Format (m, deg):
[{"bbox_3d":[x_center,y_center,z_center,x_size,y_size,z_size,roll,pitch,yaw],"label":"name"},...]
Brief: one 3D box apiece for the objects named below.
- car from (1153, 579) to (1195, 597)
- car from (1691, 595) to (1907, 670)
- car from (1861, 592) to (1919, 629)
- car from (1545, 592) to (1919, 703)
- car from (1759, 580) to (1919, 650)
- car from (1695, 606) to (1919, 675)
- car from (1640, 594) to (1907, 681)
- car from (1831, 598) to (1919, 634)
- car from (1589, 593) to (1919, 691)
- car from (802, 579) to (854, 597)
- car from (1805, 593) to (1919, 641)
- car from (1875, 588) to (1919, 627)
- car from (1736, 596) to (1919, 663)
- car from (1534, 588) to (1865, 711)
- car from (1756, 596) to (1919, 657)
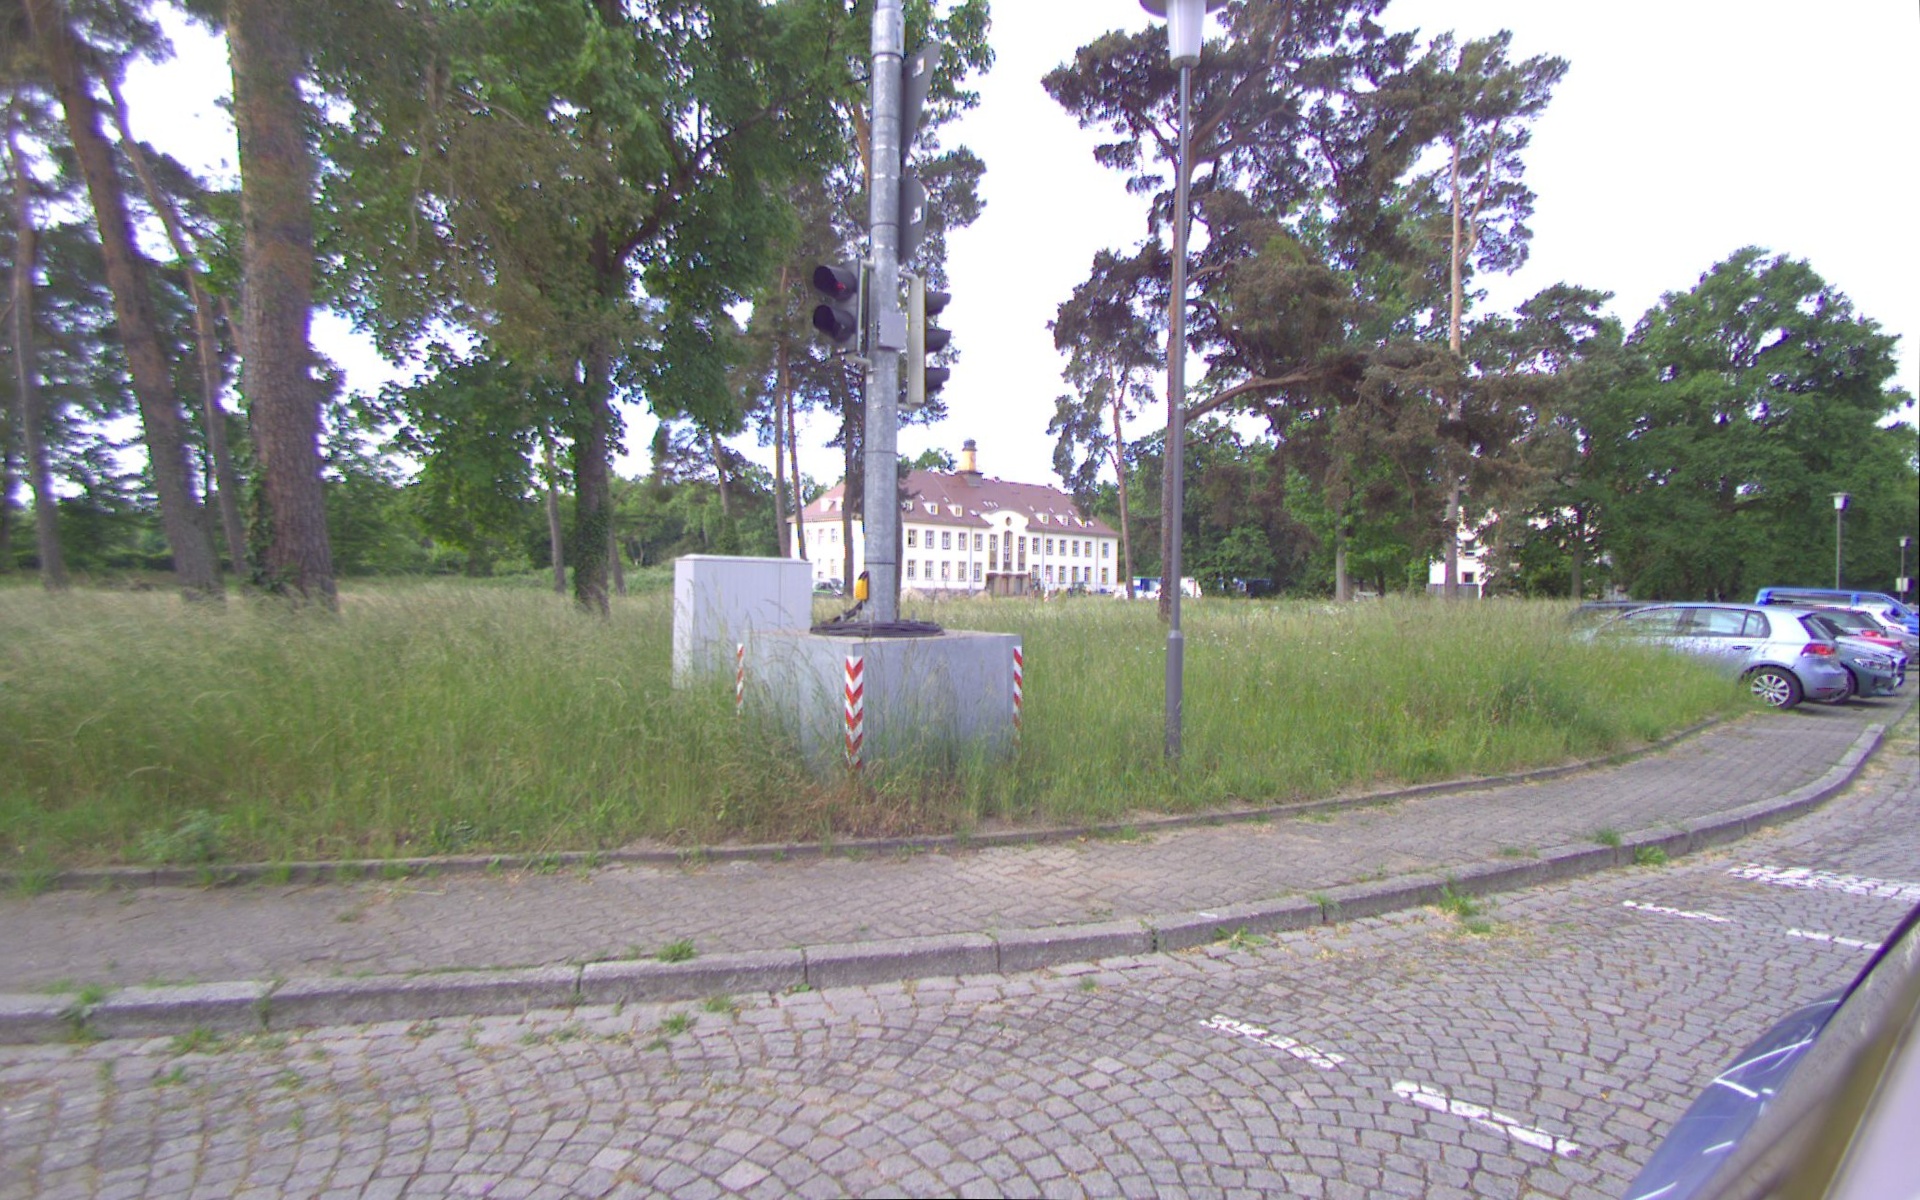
[{"bbox_3d":[24.696,-1.358,116.657,5.132,2.039,2.152,0,1,-41],"label":"car"},{"bbox_3d":[19.702,0.700,23.852,1.770,1.524,3.779,0,1,-45],"label":"car"},{"bbox_3d":[48.626,0.533,51.455,1.966,1.784,4.004,0,1,-42],"label":"car"},{"bbox_3d":[12.623,0.666,16.807,4.758,1.501,1.734,2,1,44],"label":"car"},{"bbox_3d":[27.817,0.429,31.208,1.967,1.963,4.743,0,2,-43],"label":"car"},{"bbox_3d":[18.058,0.805,21.607,1.469,1.222,3.596,1,1,-42],"label":"car"},{"bbox_3d":[16.264,0.670,20.367,1.769,1.470,3.967,0,1,-43],"label":"car"},{"bbox_3d":[41.195,0.672,44.646,1.966,1.549,3.991,0,0,-43],"label":"car"},{"bbox_3d":[14.667,0.673,18.817,1.782,1.501,4.763,0,1,-43],"label":"car"},{"bbox_3d":[-15.141,-1.410,115.863,6.164,1.882,2.307,2,1,38],"label":"car"},{"bbox_3d":[34.023,0.607,37.442,1.966,1.630,3.992,0,1,-43],"label":"car"},{"bbox_3d":[51.912,0.436,54.270,1.966,2.039,3.993,0,1,-42],"label":"car"},{"bbox_3d":[22.110,0.685,25.429,1.788,1.474,3.847,0,1,-40],"label":"car"},{"bbox_3d":[10.807,0.632,14.956,3.763,1.444,1.581,3,2,43],"label":"car"},{"bbox_3d":[23.957,0.676,27.522,1.609,1.470,3.405,0,1,-42],"label":"car"}]
